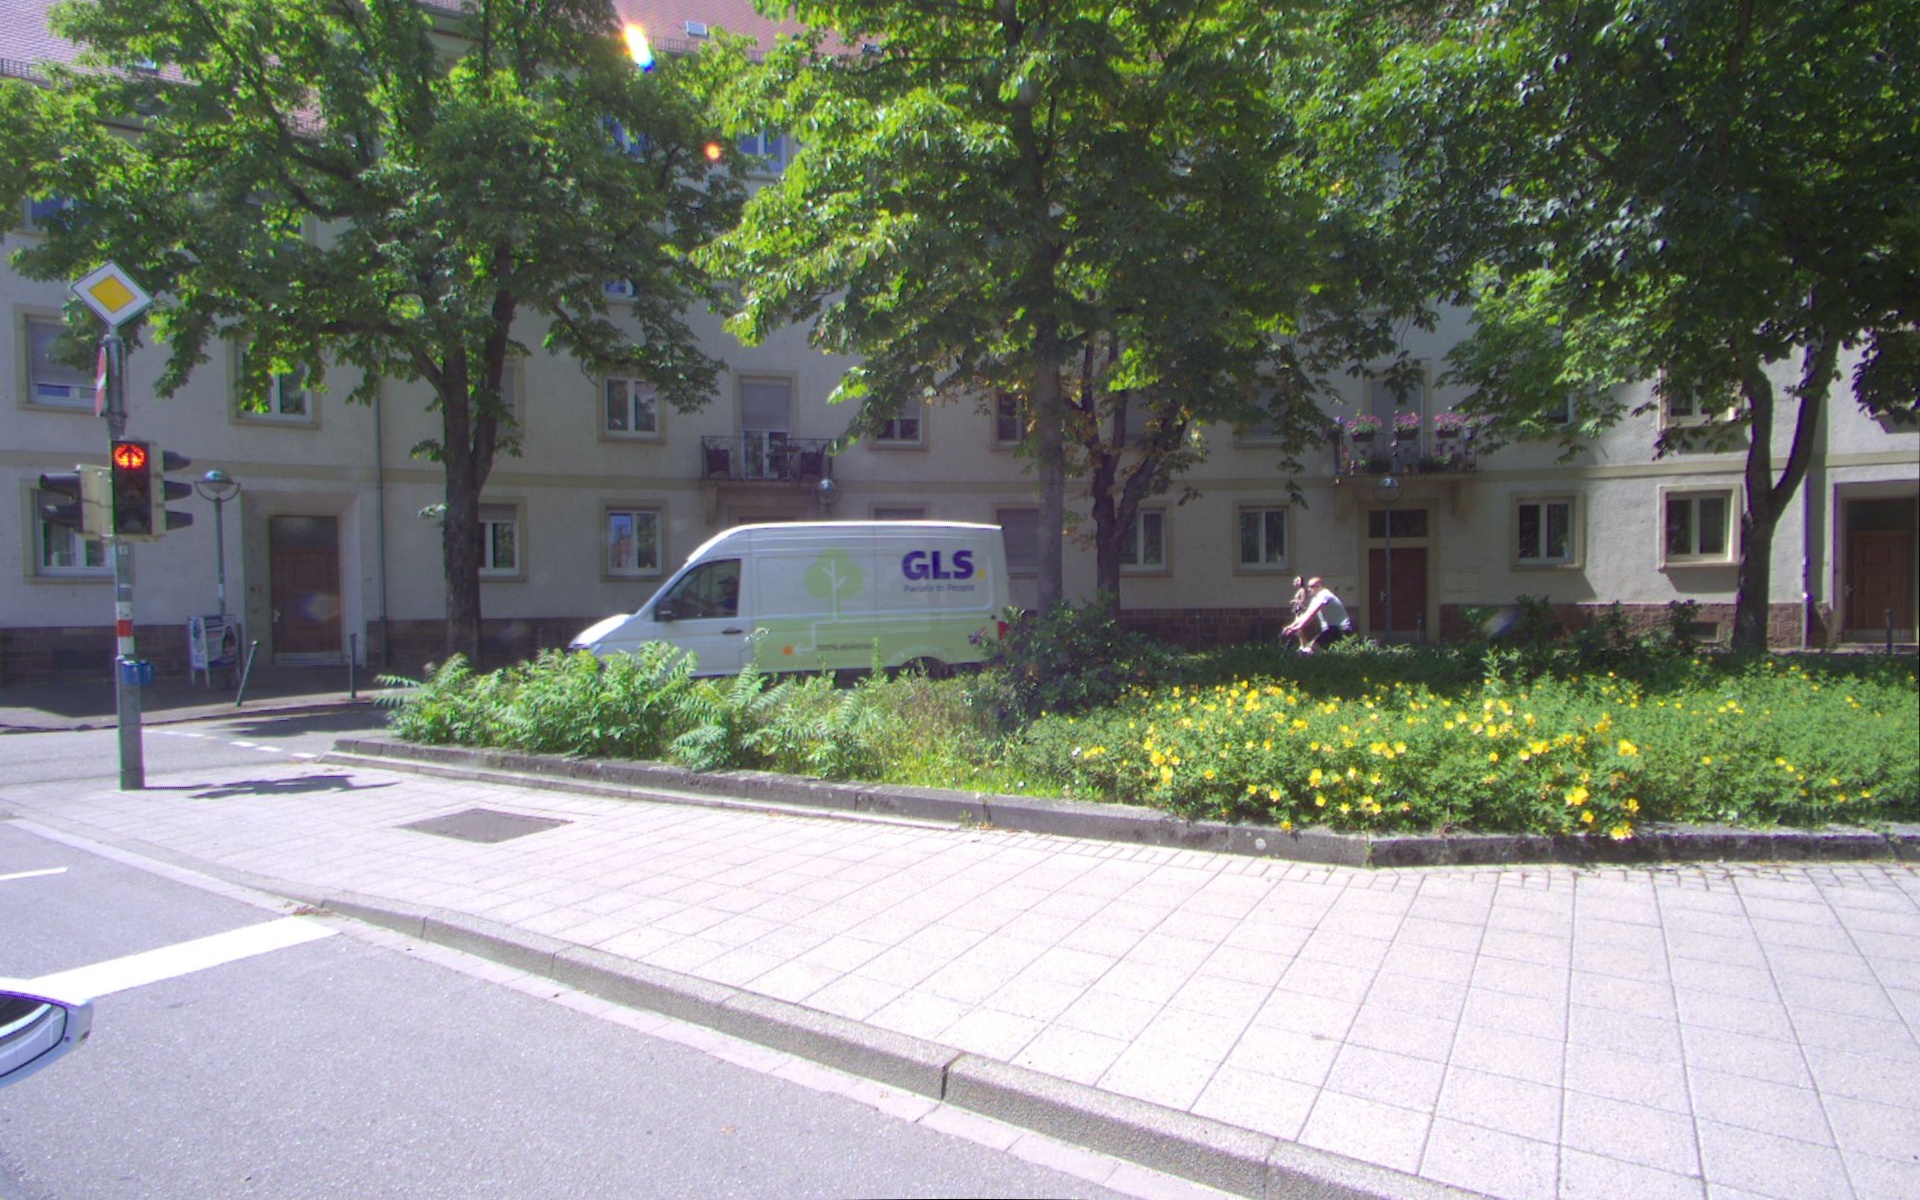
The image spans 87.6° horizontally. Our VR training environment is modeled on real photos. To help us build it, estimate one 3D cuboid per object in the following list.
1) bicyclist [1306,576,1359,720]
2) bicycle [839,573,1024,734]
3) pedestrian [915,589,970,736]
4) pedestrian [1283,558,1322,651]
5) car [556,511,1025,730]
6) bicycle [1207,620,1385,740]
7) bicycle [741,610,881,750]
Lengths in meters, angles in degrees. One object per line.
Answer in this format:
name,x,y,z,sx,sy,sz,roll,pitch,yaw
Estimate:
bicyclist,4.843,0.617,13.059,0.524,1.823,0.603,-1,0,9
bicycle,-0.293,0.478,9.193,1.809,1.377,0.351,-1,0,33
pedestrian,-0.158,0.556,9.111,0.345,1.301,0.365,-1,0,32
pedestrian,7.689,0.112,22.497,0.759,2.040,0.807,-1,0,15
car,-2.156,0.226,13.462,5.740,2.624,1.998,-1,1,-10
bicycle,4.356,1.028,13.115,2.127,1.505,0.593,-1,0,10
bicycle,-1.304,0.678,8.660,1.269,1.141,0.332,-2,-1,32
